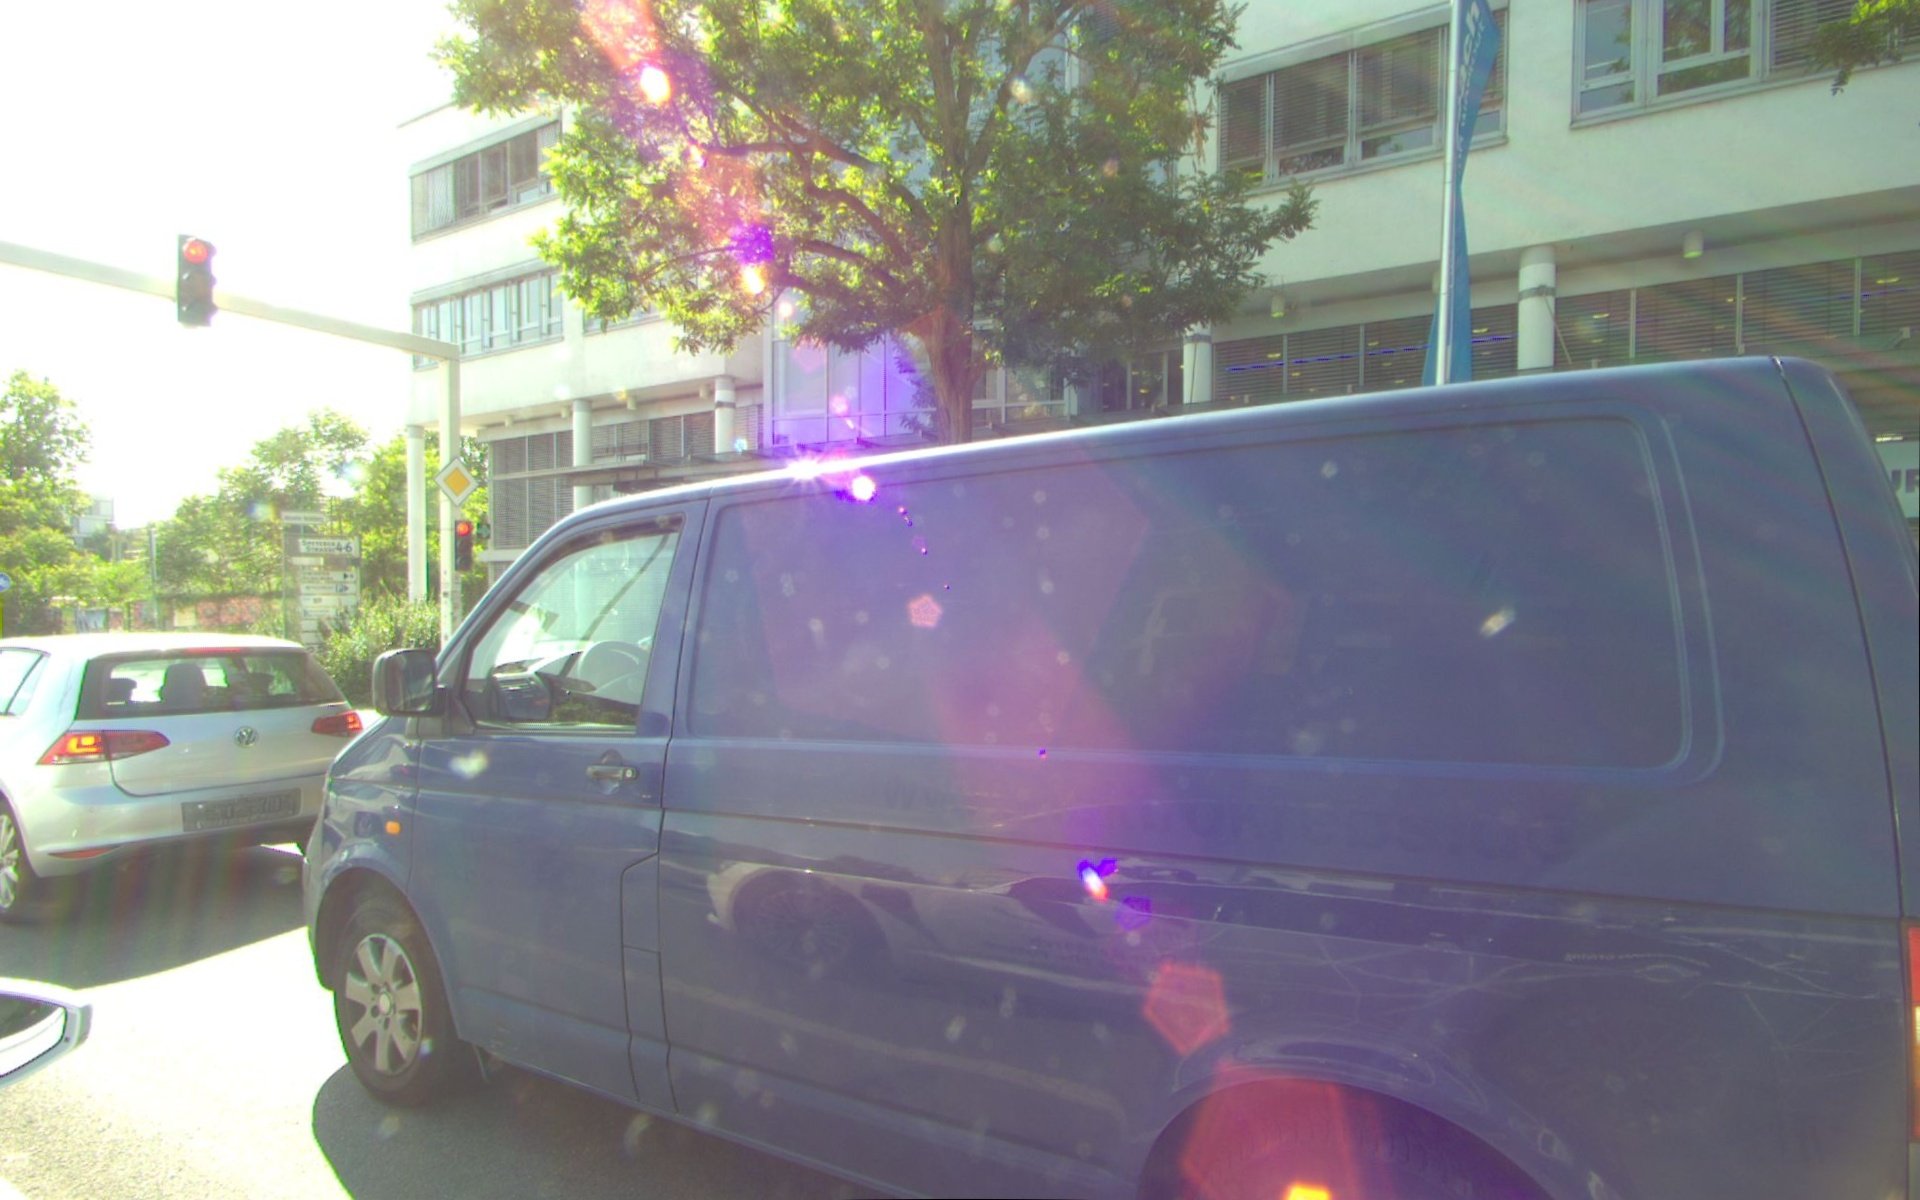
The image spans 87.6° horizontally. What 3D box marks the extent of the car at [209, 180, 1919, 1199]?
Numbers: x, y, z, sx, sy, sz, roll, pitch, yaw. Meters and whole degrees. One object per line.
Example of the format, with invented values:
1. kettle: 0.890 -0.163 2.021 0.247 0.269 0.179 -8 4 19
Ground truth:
1. car: -0.152 0.540 3.190 4.821 1.973 1.989 -1 -1 32

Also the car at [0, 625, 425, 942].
1. car: -5.491 0.920 6.460 3.941 1.448 1.805 -1 -1 30

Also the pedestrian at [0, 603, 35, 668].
1. pedestrian: -30.132 1.111 31.675 1.023 2.040 1.025 0 0 32
